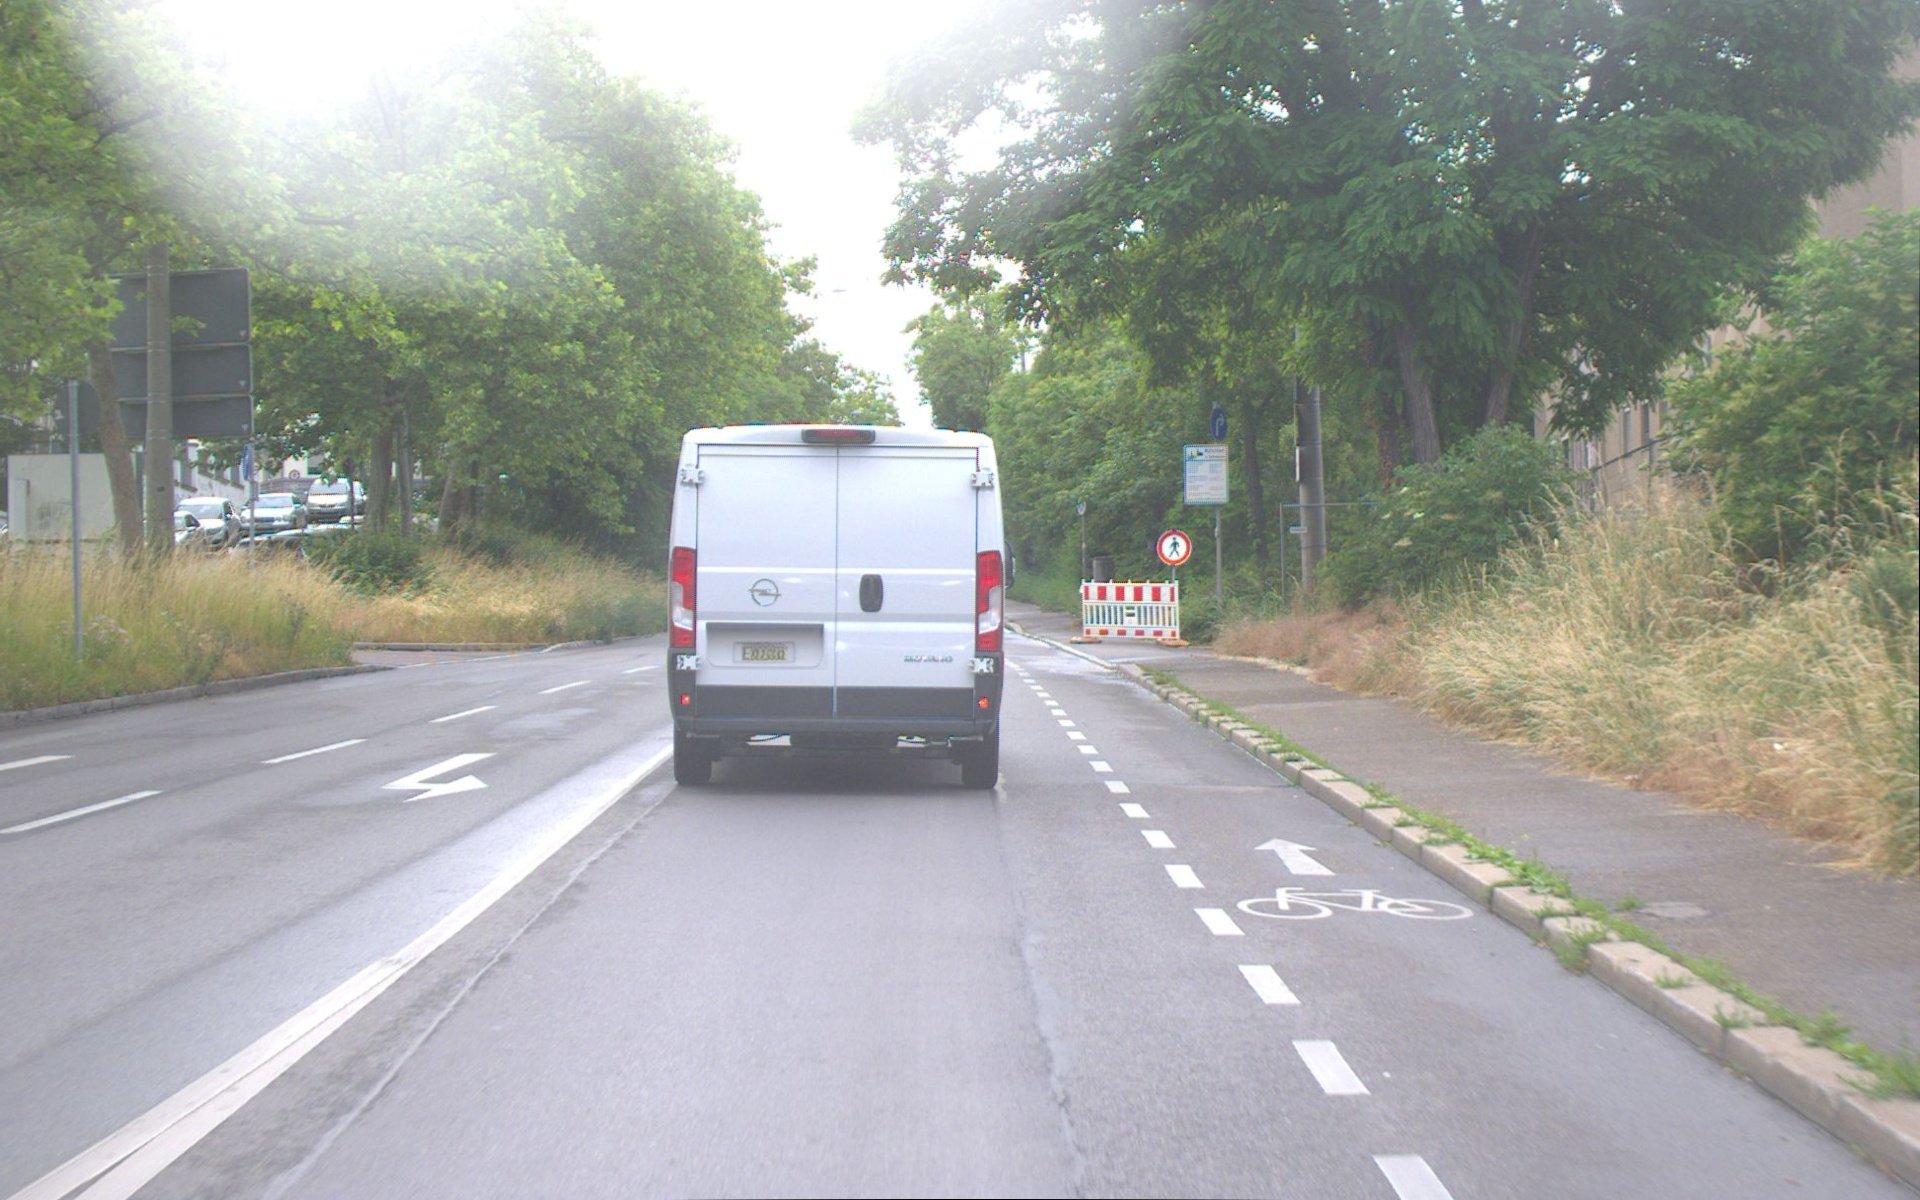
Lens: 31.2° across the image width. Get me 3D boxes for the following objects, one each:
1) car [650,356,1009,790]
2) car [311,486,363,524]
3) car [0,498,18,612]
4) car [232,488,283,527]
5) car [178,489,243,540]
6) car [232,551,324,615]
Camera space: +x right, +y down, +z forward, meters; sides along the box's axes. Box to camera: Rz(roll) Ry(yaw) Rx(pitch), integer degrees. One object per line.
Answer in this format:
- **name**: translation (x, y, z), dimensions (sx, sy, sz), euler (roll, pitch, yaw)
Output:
- **car**: translation (-0.813, -0.211, 22.853), dimensions (2.050, 2.508, 4.944), euler (2, 1, -1)
- **car**: translation (-23.410, -3.571, 129.314), dimensions (1.599, 1.246, 2.911), euler (-1, -1, -4)
- **car**: translation (-11.643, -0.529, 37.390), dimensions (1.537, 1.288, 4.544), euler (-1, -1, 0)
- **car**: translation (-23.064, -3.030, 112.908), dimensions (1.213, 1.129, 2.452), euler (-1, -1, -1)
- **car**: translation (-21.551, -2.453, 98.902), dimensions (1.382, 1.294, 3.015), euler (-1, -1, -4)
- **car**: translation (-13.138, -0.319, 66.359), dimensions (1.350, 1.127, 2.753), euler (-1, -1, -3)
